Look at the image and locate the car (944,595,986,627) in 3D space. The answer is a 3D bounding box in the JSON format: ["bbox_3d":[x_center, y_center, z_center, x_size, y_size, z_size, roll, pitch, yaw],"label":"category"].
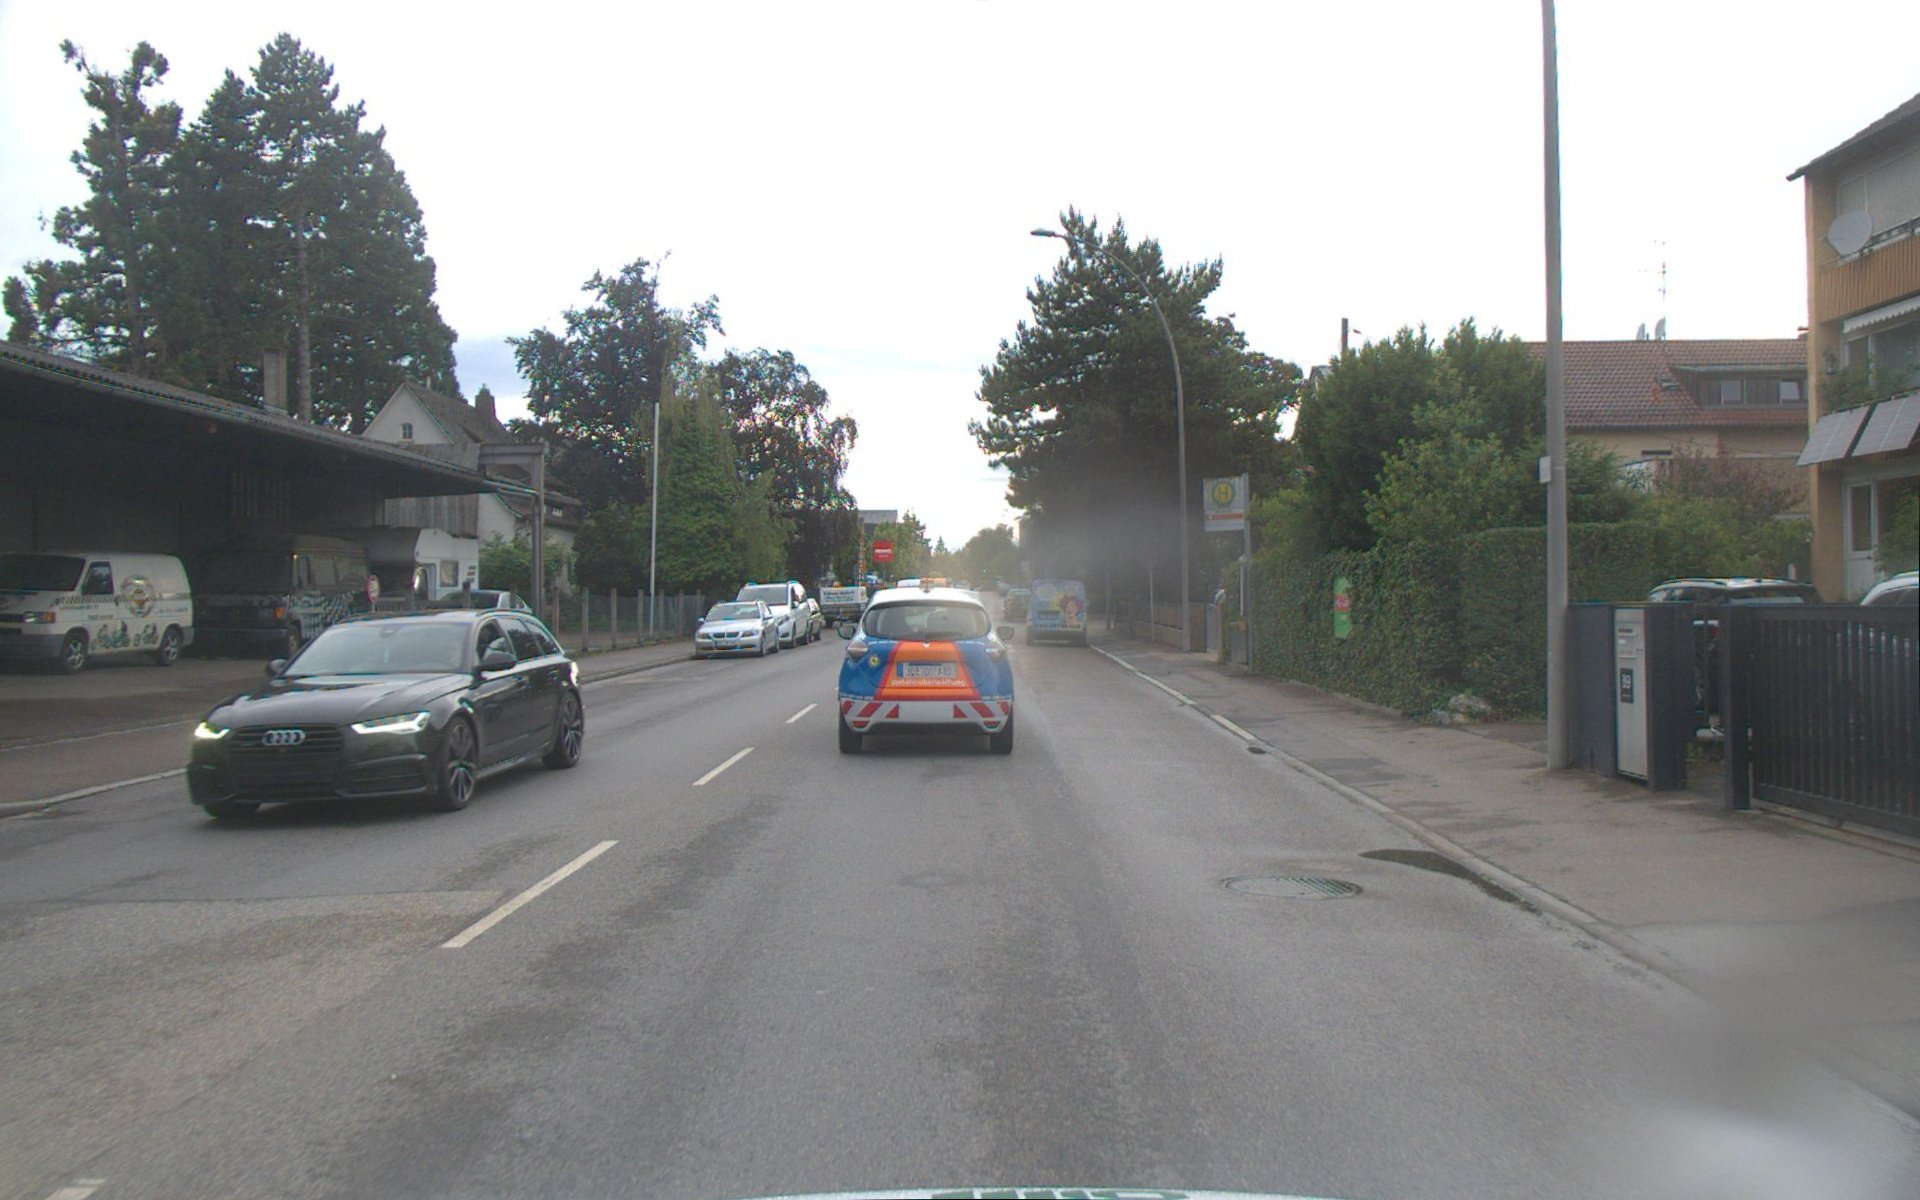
[{"bbox_3d":[0.287,0.561,86.601,1.952,1.444,4.002,-3,2,3],"label":"car"}]

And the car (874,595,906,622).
[{"bbox_3d":[-4.531,0.593,107.542,1.953,1.624,3.999,2,-2,-1],"label":"car"}]

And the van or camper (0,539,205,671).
[{"bbox_3d":[-14.359,0.063,27.079,1.953,1.942,4.470,2,0,-1],"label":"van or camper"}]

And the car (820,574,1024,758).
[{"bbox_3d":[-0.386,0.587,17.032,1.850,1.660,3.999,0,0,-1],"label":"car"}]

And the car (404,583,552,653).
[{"bbox_3d":[-10.910,0.403,37.836,1.896,1.469,4.782,1,0,1],"label":"car"}]

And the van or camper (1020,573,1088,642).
[{"bbox_3d":[2.694,0.208,48.100,1.718,1.916,4.000,0,0,0],"label":"van or camper"}]

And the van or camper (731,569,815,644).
[{"bbox_3d":[-5.525,0.259,49.434,1.852,2.049,5.096,2,-2,0],"label":"van or camper"}]

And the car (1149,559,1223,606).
[{"bbox_3d":[7.557,-0.573,55.606,1.953,1.512,4.000,0,0,0],"label":"car"}]

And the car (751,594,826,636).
[{"bbox_3d":[-5.665,0.486,55.066,1.952,1.310,4.001,-1,1,1],"label":"car"}]

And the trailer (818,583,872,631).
[{"bbox_3d":[-5.291,0.335,76.535,2.175,2.049,4.435,2,-2,-1],"label":"trailer"}]

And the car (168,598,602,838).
[{"bbox_3d":[-4.335,0.789,13.316,1.706,1.476,4.544,-2,1,2],"label":"car"}]

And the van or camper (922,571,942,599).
[{"bbox_3d":[-2.903,-1.523,171.641,1.953,2.823,5.440,-1,0,0],"label":"van or camper"}]

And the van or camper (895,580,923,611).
[{"bbox_3d":[-4.043,-0.404,131.627,2.117,2.394,4.333,-1,0,0],"label":"van or camper"}]

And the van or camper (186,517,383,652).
[{"bbox_3d":[-13.715,-0.224,33.966,1.821,2.480,5.232,2,-2,-1],"label":"van or camper"}]

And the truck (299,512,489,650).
[{"bbox_3d":[-13.418,-0.386,39.689,2.345,2.978,5.957,2,-1,1],"label":"truck"}]

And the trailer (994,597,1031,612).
[{"bbox_3d":[2.833,0.234,90.101,1.899,0.767,2.859,-1,1,-1],"label":"trailer"}]

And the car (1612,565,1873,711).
[{"bbox_3d":[9.444,0.480,20.299,1.626,1.574,4.002,2,-2,6],"label":"car"}]

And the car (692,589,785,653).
[{"bbox_3d":[-5.682,0.578,42.952,1.706,1.506,4.184,-2,-2,1],"label":"car"}]

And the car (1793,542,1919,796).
[{"bbox_3d":[7.409,0.486,10.930,2.076,1.679,5.239,1,-2,12],"label":"car"}]

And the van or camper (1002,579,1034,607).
[{"bbox_3d":[3.868,-0.491,110.069,1.953,1.816,4.000,-1,0,0],"label":"van or camper"}]
